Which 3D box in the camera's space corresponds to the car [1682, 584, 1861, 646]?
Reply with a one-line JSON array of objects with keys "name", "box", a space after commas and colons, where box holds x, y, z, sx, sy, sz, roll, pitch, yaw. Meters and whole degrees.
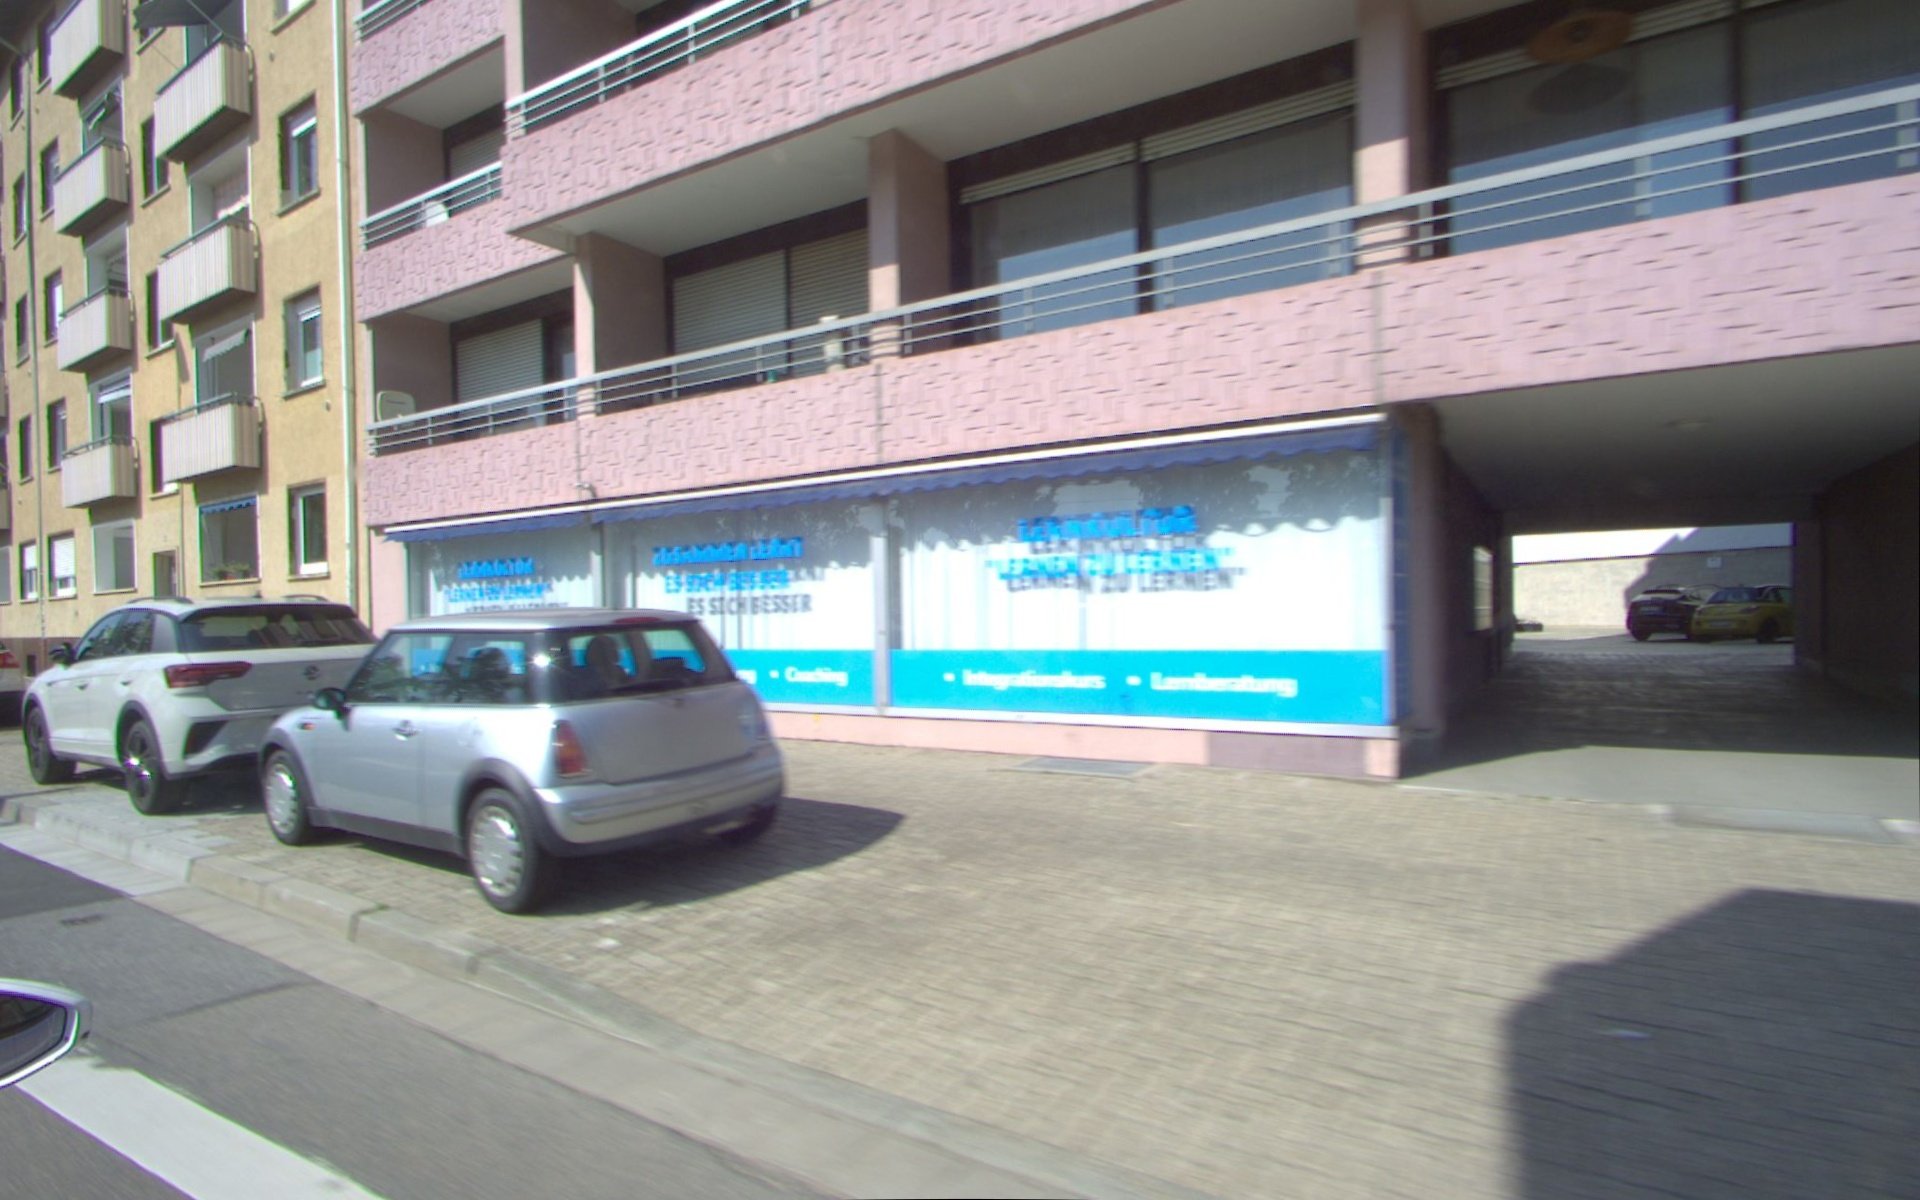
[{"name": "car", "box": [20.560, 0.347, 25.390, 3.801, 1.445, 1.770, -1, 0, -19]}]

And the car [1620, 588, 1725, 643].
[{"name": "car", "box": [20.088, 0.401, 28.185, 3.830, 1.445, 1.757, -1, 0, -44]}]

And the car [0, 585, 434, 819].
[{"name": "car", "box": [-6.522, 0.705, 8.619, 4.295, 1.562, 1.731, -1, 0, 35]}]

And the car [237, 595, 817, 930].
[{"name": "car", "box": [-2.696, 0.729, 6.056, 3.385, 1.428, 1.672, -1, 2, 35]}]

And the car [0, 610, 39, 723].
[{"name": "car", "box": [-15.008, 0.933, 14.383, 4.071, 1.526, 1.751, -1, 0, 35]}]
